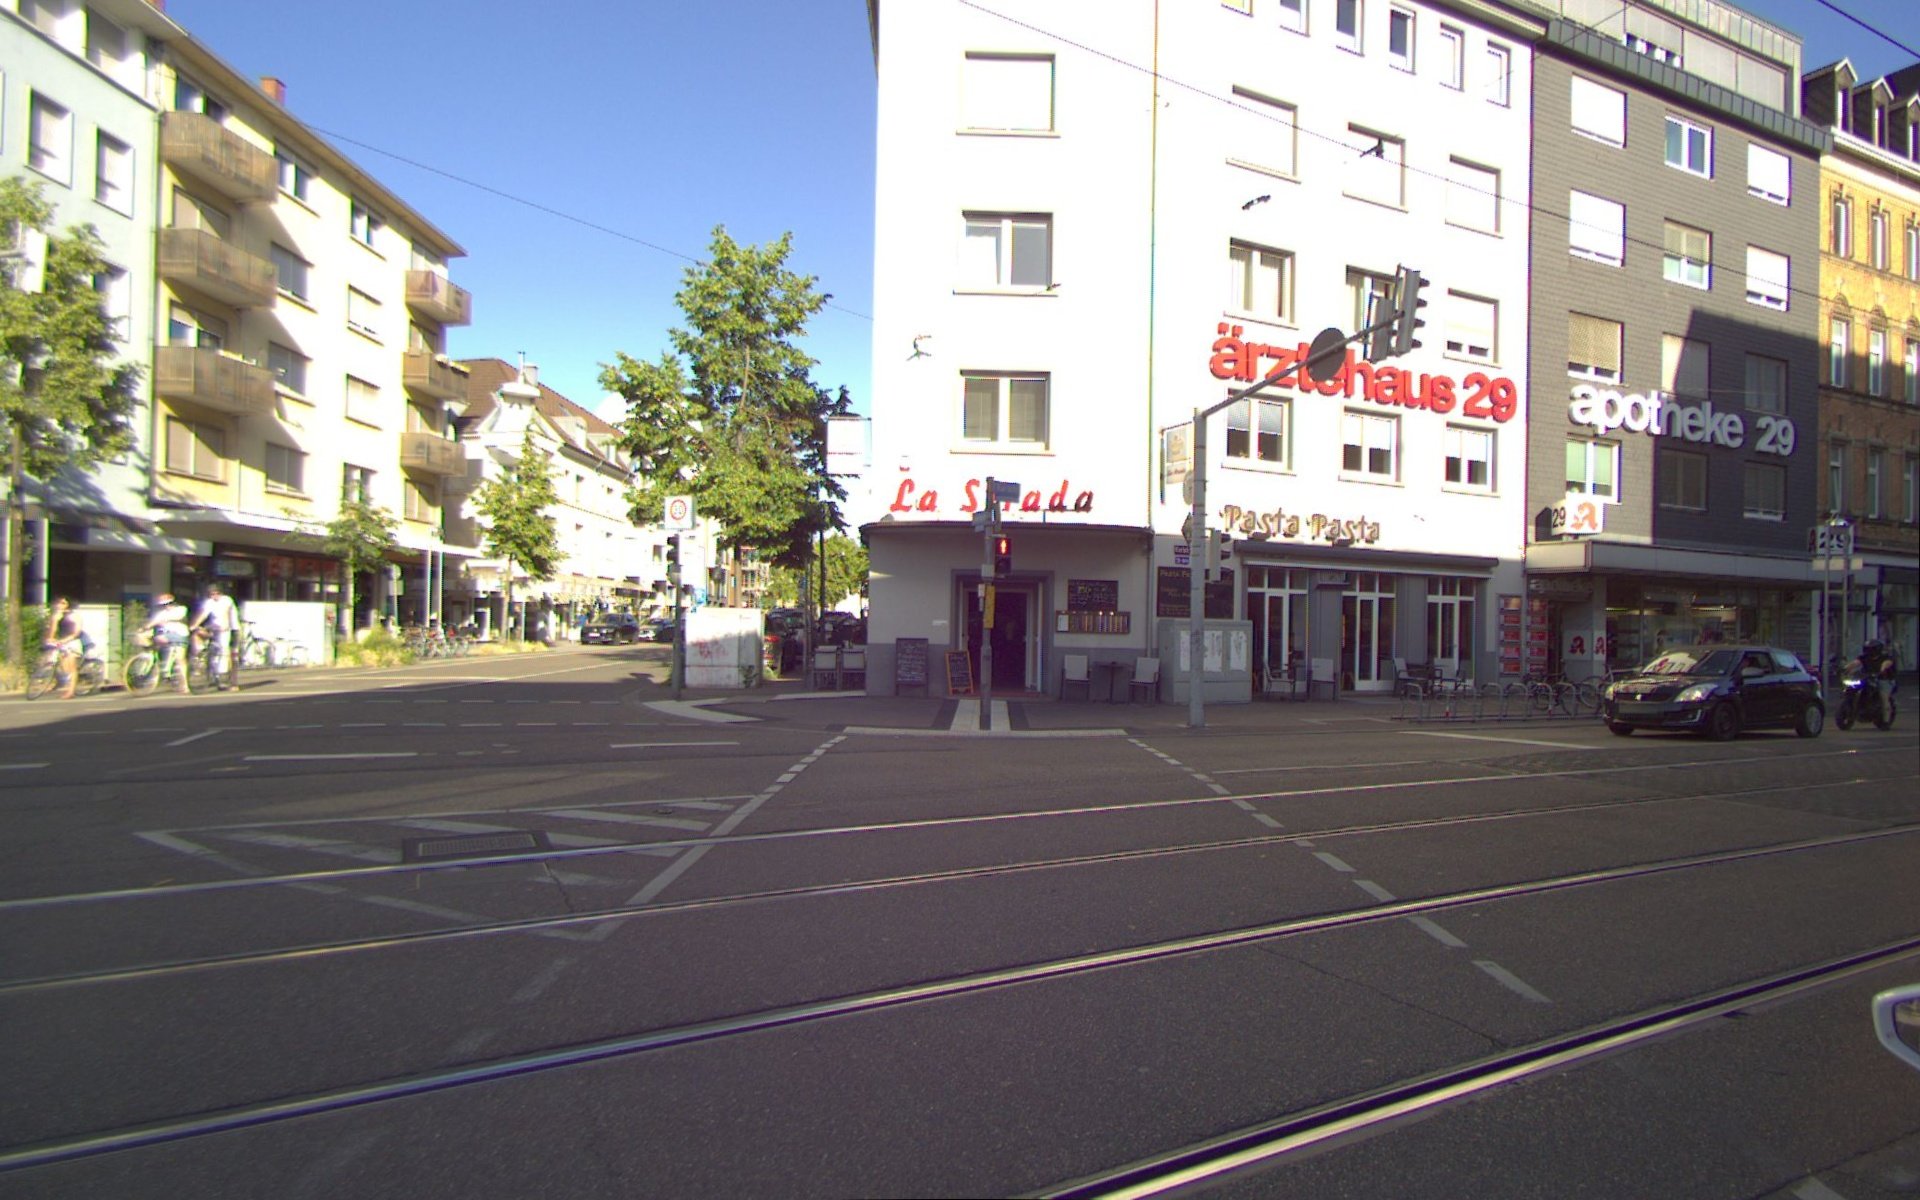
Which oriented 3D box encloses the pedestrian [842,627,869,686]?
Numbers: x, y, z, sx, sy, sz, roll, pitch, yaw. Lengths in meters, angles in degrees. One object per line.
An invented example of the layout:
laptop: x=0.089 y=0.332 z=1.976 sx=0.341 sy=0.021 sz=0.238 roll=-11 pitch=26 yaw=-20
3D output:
pedestrian: x=-2.413 y=1.286 z=23.217 sx=0.479 sy=1.339 sz=0.654 roll=0 pitch=-1 yaw=6

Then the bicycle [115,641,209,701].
bicycle: x=-14.082 y=1.231 z=17.772 sx=0.544 sy=0.981 sz=1.791 roll=1 pitch=-1 yaw=-12

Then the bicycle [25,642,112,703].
bicycle: x=-15.146 y=1.213 z=17.100 sx=0.473 sy=0.968 sz=1.451 roll=1 pitch=-1 yaw=-15

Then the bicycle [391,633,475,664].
bicycle: x=-17.452 y=1.599 z=33.316 sx=2.355 sy=0.990 sz=0.654 roll=1 pitch=-1 yaw=-11

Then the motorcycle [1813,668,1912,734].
motorcycle: x=16.441 y=1.810 z=18.294 sx=2.088 sy=1.134 sz=0.568 roll=2 pitch=-2 yaw=-25

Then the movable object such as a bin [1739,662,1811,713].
movable object such as a bin: x=19.234 y=2.047 z=23.711 sx=0.725 sy=1.086 sz=1.096 roll=1 pitch=0 yaw=-24

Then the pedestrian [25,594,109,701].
pedestrian: x=-14.940 y=0.786 z=16.827 sx=0.780 sy=1.735 sz=0.652 roll=2 pitch=-1 yaw=-16

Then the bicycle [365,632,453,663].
bicycle: x=-17.531 y=1.510 z=31.993 sx=2.363 sy=0.971 sz=0.544 roll=1 pitch=-1 yaw=-13

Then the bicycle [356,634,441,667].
bicycle: x=-17.458 y=1.575 z=31.265 sx=2.189 sy=0.971 sz=0.654 roll=1 pitch=-1 yaw=-13

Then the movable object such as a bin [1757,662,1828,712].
movable object such as a bin: x=19.886 y=2.067 z=24.008 sx=0.689 sy=1.077 sz=1.096 roll=1 pitch=0 yaw=-24

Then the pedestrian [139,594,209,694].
pedestrian: x=-14.125 y=0.792 z=18.063 sx=0.767 sy=1.751 sz=0.557 roll=2 pitch=-1 yaw=-15

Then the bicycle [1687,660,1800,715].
bicycle: x=18.024 y=1.989 z=23.151 sx=0.765 sy=1.125 sz=1.926 roll=2 pitch=-1 yaw=-29

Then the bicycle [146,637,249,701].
bicycle: x=-13.301 y=1.179 z=17.589 sx=0.747 sy=1.021 sz=1.721 roll=-2 pitch=-1 yaw=-12

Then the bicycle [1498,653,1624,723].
bicycle: x=12.263 y=1.761 z=20.559 sx=0.765 sy=1.240 sz=2.093 roll=2 pitch=0 yaw=-29

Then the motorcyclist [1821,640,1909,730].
motorcyclist: x=16.530 y=1.532 z=18.355 sx=1.130 sy=1.578 sz=0.801 roll=2 pitch=-2 yaw=-24

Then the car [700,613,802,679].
car: x=-5.730 y=1.240 z=28.065 sx=1.968 sy=1.658 sz=4.288 roll=1 pitch=-1 yaw=-1

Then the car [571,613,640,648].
car: x=-17.953 y=1.540 z=51.051 sx=1.960 sy=1.619 sz=4.001 roll=2 pitch=-1 yaw=1

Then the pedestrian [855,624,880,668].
pedestrian: x=-2.928 y=1.462 z=31.926 sx=0.719 sy=1.365 sz=1.059 roll=1 pitch=-1 yaw=-3

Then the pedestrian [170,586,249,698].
pedestrian: x=-13.246 y=0.722 z=17.761 sx=0.767 sy=1.891 sz=0.998 roll=-1 pitch=0 yaw=-15

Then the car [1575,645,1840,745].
car: x=12.214 y=1.481 z=16.398 sx=4.082 sy=1.464 sz=1.709 roll=1 pitch=-3 yaw=-25

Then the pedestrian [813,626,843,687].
pedestrian: x=-2.946 y=1.260 z=22.429 sx=0.576 sy=1.330 sz=0.560 roll=1 pitch=-1 yaw=-1

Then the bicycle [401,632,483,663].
bicycle: x=-17.600 y=1.614 z=34.148 sx=2.362 sy=1.019 sz=0.654 roll=1 pitch=-1 yaw=-12

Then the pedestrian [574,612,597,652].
pedestrian: x=-19.480 y=1.663 z=52.316 sx=0.938 sy=2.040 sz=1.086 roll=-2 pitch=0 yaw=-14

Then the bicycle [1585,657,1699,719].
bicycle: x=14.774 y=1.888 z=21.822 sx=0.765 sy=1.208 sz=1.926 roll=2 pitch=-1 yaw=-29

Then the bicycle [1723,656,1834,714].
bicycle: x=18.841 y=1.924 z=23.162 sx=0.545 sy=1.206 sz=1.926 roll=2 pitch=-1 yaw=-28

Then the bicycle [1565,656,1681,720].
bicycle: x=14.106 y=1.839 z=21.429 sx=0.765 sy=1.188 sz=1.925 roll=2 pitch=0 yaw=-29

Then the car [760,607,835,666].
car: x=-5.512 y=1.225 z=34.498 sx=1.873 sy=1.876 sz=4.288 roll=1 pitch=-1 yaw=-1

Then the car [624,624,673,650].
car: x=-18.102 y=2.119 z=58.521 sx=1.757 sy=1.421 sz=3.905 roll=1 pitch=-1 yaw=-3
